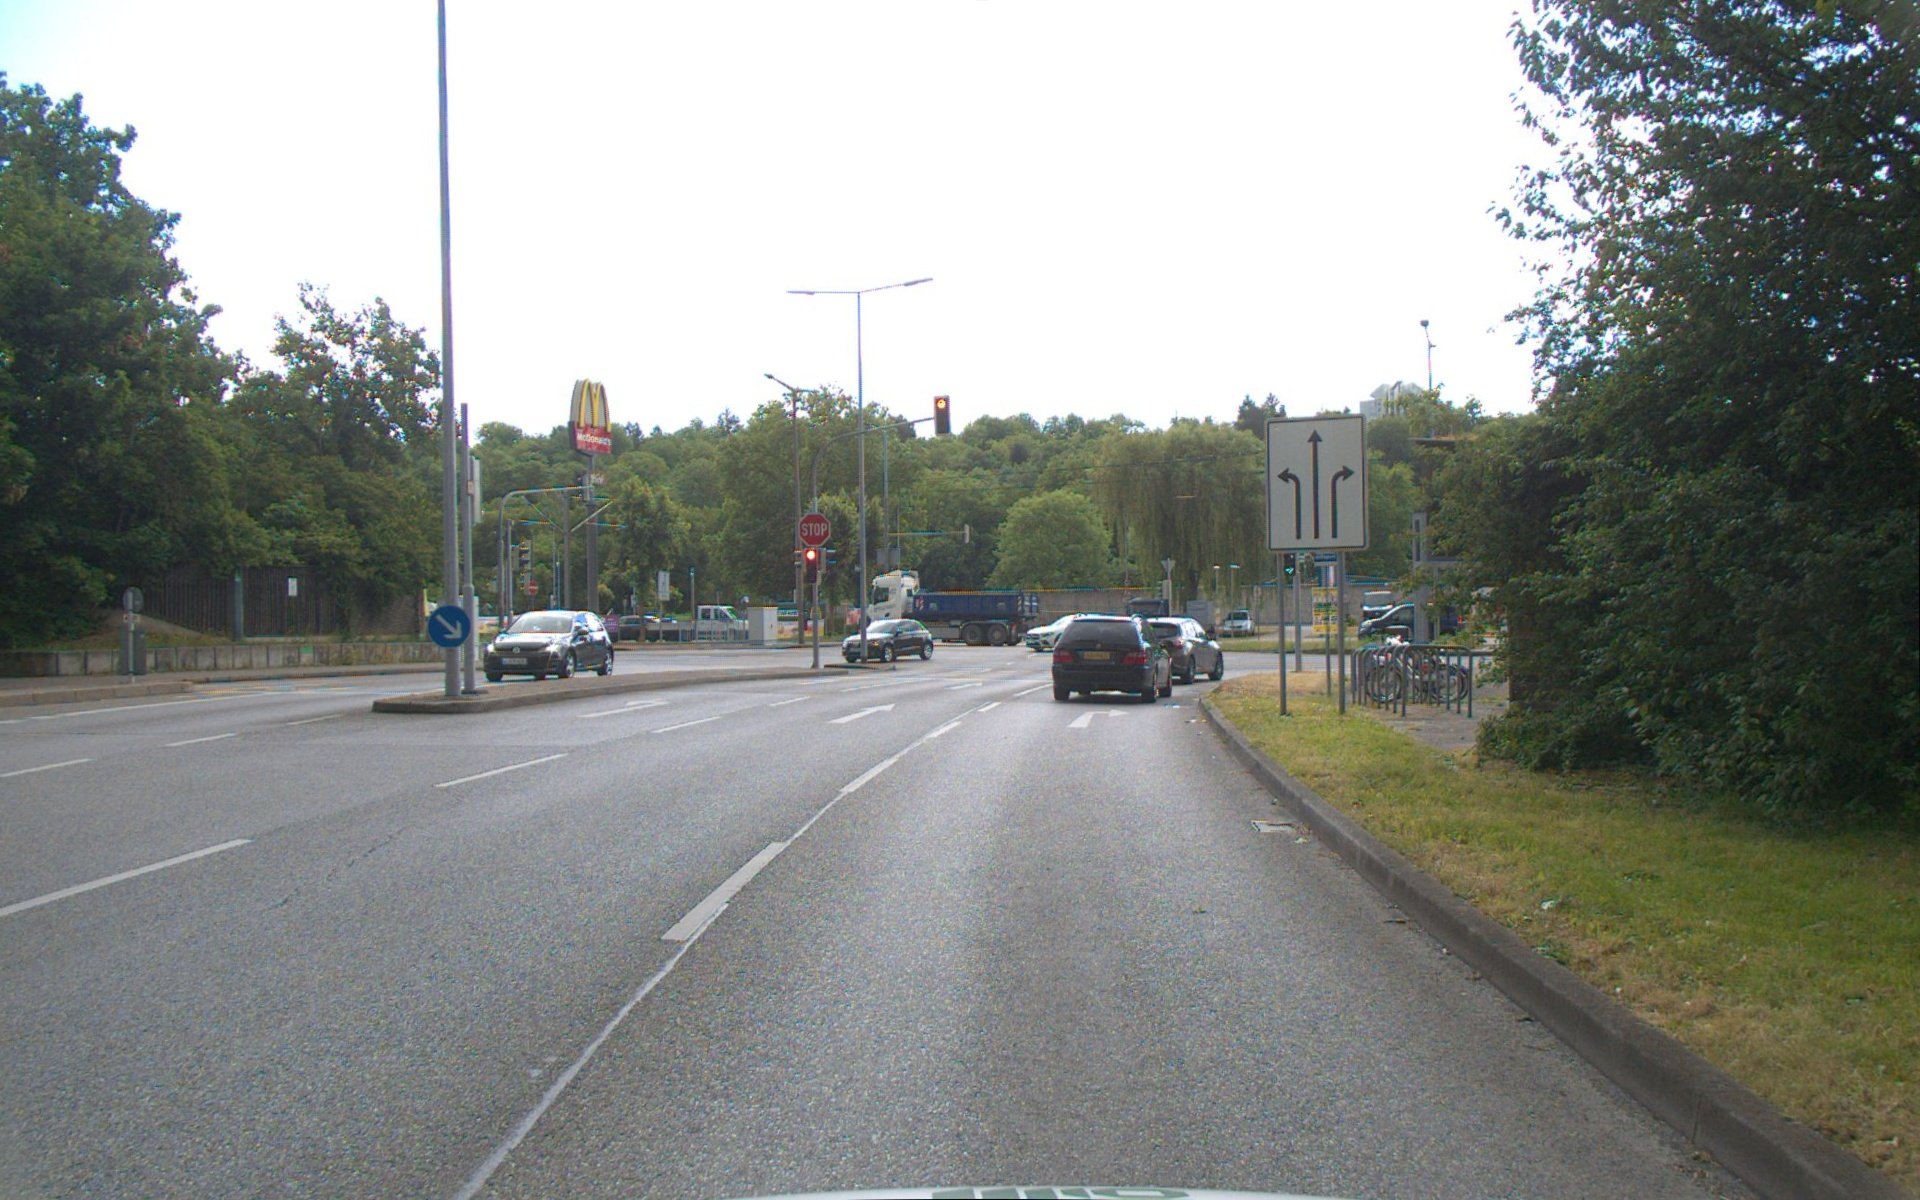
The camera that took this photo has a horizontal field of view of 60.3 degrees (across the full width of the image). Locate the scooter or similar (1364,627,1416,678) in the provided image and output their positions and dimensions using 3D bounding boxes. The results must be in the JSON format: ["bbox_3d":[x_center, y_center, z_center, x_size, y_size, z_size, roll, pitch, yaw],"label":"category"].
[{"bbox_3d":[10.179,1.241,39.151,1.156,1.190,0.294,-1,-1,17],"label":"scooter or similar"}]

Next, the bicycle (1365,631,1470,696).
[{"bbox_3d":[8.177,1.136,29.627,1.740,1.130,0.580,-1,-2,9],"label":"bicycle"}]

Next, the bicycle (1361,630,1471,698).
[{"bbox_3d":[7.778,1.096,28.237,1.744,1.130,0.425,-2,-2,28],"label":"bicycle"}]

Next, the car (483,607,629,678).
[{"bbox_3d":[-8.454,0.860,34.967,1.642,1.390,4.313,0,0,6],"label":"car"}]

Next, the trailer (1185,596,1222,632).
[{"bbox_3d":[15.624,0.934,105.926,1.951,2.222,4.003,-2,-2,13],"label":"trailer"}]

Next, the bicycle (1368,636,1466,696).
[{"bbox_3d":[8.690,1.252,31.511,1.740,1.130,0.554,0,-1,9],"label":"bicycle"}]

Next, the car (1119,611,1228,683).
[{"bbox_3d":[5.151,1.087,39.499,1.691,1.557,4.149,-1,0,20],"label":"car"}]

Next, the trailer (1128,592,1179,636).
[{"bbox_3d":[12.255,0.888,104.612,2.302,2.628,4.922,-2,-2,17],"label":"trailer"}]

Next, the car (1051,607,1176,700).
[{"bbox_3d":[2.842,0.962,29.695,1.783,1.536,4.577,0,-2,11],"label":"car"}]

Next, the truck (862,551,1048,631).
[{"bbox_3d":[-0.271,-0.381,84.674,8.914,3.651,3.218,-2,-2,23],"label":"truck"}]

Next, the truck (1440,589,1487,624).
[{"bbox_3d":[31.867,0.440,104.730,2.187,2.049,5.244,-2,-2,10],"label":"truck"}]

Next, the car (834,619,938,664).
[{"bbox_3d":[-2.513,1.404,57.110,1.588,1.441,3.883,-2,-1,34],"label":"car"}]

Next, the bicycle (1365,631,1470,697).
[{"bbox_3d":[7.990,1.118,28.930,1.740,1.130,0.455,-1,-2,15],"label":"bicycle"}]

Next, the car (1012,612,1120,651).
[{"bbox_3d":[4.254,1.265,66.206,4.242,1.430,1.586,-1,-1,-35],"label":"car"}]

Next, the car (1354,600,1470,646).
[{"bbox_3d":[18.940,0.963,69.407,4.448,1.805,1.608,-1,-1,5],"label":"car"}]
